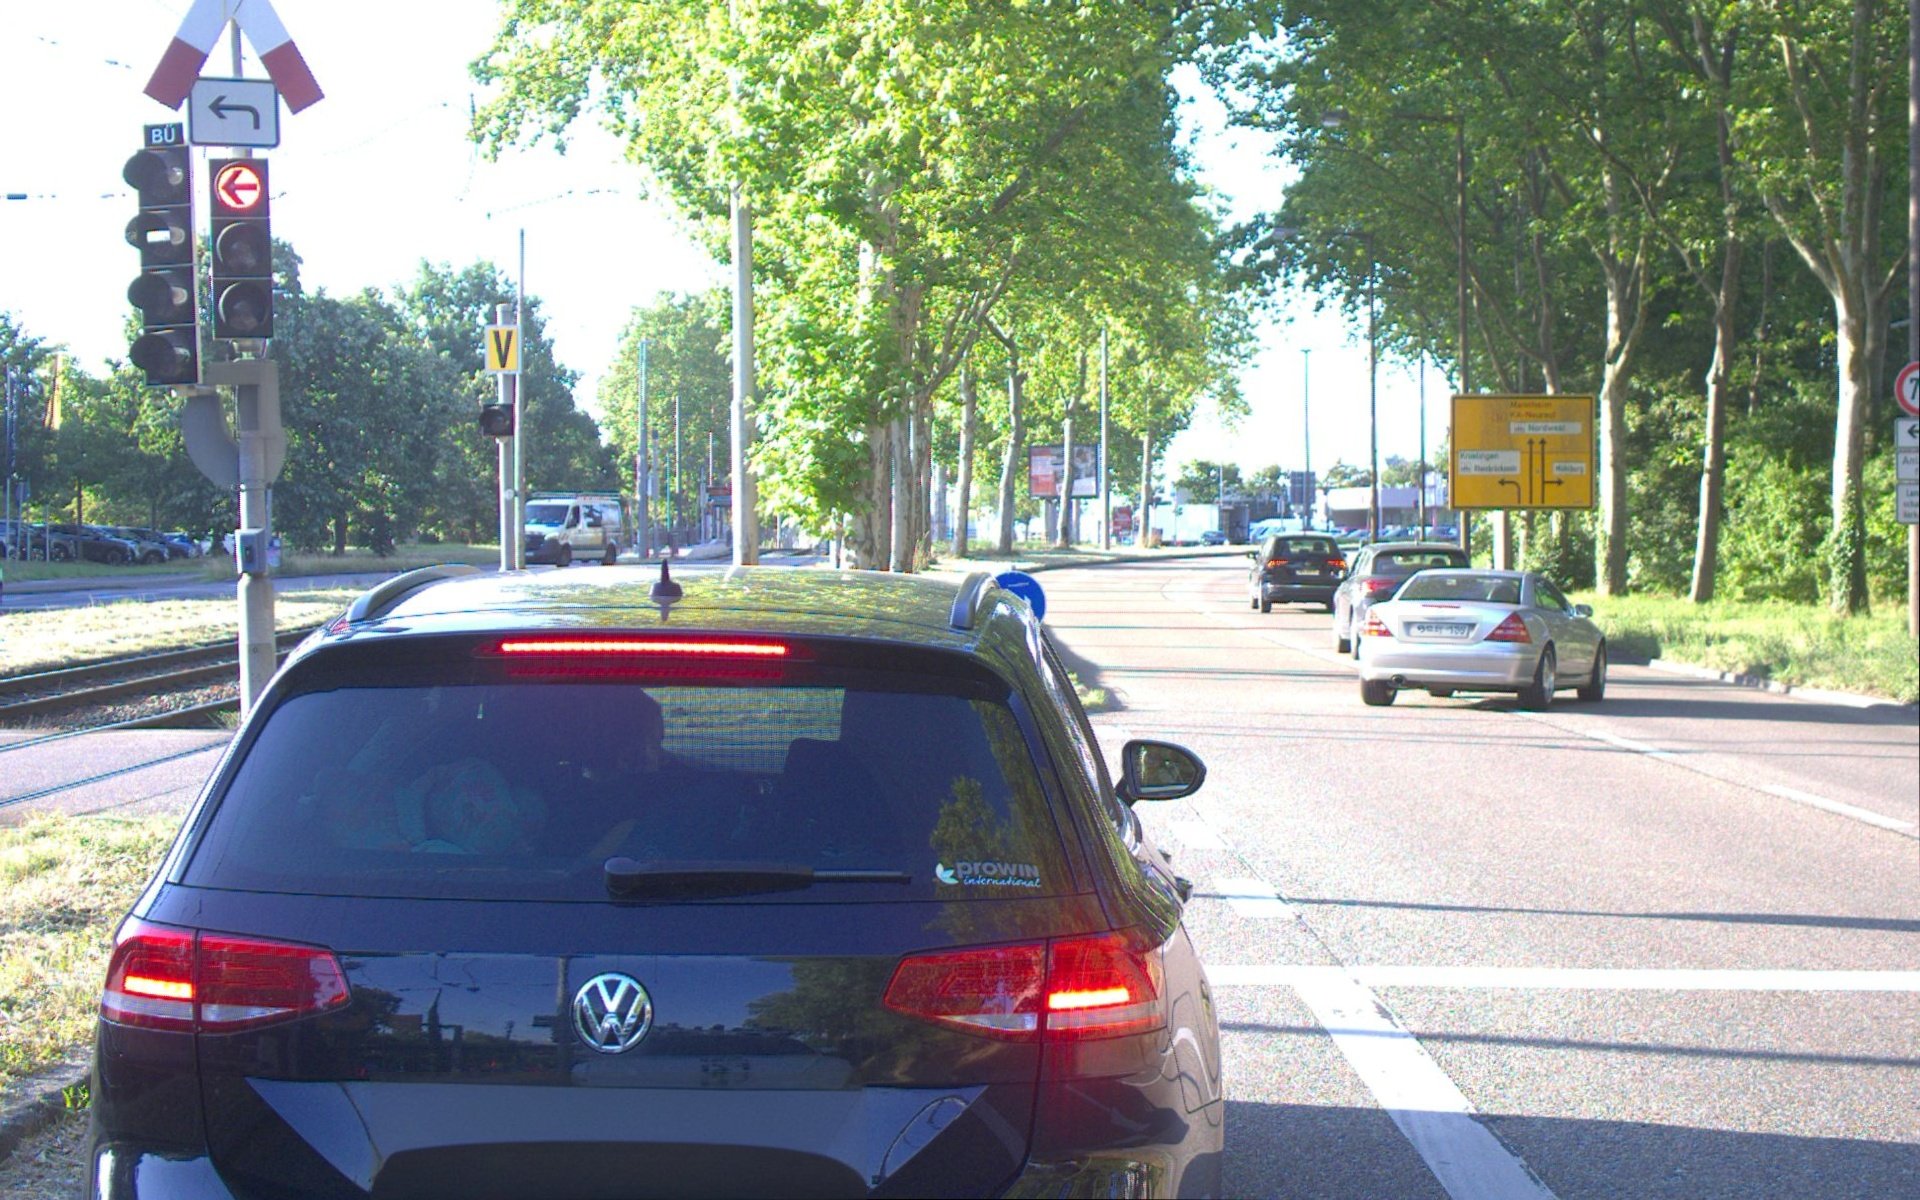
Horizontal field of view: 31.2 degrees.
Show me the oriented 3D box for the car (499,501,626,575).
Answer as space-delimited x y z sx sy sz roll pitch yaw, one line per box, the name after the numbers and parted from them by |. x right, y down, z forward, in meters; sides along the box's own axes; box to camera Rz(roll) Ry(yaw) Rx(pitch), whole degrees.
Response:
-13.600 -2.126 118.064 2.097 2.453 5.848 1 1 18 | car

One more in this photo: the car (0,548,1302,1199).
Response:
-0.481 0.650 6.403 1.795 1.459 3.583 1 1 -1 | car

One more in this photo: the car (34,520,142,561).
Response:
-35.172 -2.413 138.741 3.986 1.615 1.744 1 1 -5 | car

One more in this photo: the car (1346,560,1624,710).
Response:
5.019 0.283 32.475 1.611 1.290 3.978 2 1 24 | car

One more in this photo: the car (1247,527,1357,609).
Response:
6.988 -0.659 70.566 1.872 1.629 4.370 0 1 1 | car

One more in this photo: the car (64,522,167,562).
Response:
-35.830 -2.455 145.898 3.986 1.615 1.744 1 1 -5 | car

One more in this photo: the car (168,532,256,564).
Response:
-36.516 -2.545 167.974 3.986 1.550 1.744 1 1 -4 | car

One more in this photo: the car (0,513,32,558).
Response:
-35.922 -2.362 124.992 3.986 1.615 1.744 1 1 -5 | car

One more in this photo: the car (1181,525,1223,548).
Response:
15.710 -4.122 223.572 1.993 1.415 4.001 0 1 -7 | car

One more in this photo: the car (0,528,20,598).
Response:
-21.371 -0.768 71.987 1.862 1.476 4.091 1 1 6 | car

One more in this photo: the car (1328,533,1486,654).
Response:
5.960 -0.122 46.217 1.707 1.555 4.166 0 1 2 | car
